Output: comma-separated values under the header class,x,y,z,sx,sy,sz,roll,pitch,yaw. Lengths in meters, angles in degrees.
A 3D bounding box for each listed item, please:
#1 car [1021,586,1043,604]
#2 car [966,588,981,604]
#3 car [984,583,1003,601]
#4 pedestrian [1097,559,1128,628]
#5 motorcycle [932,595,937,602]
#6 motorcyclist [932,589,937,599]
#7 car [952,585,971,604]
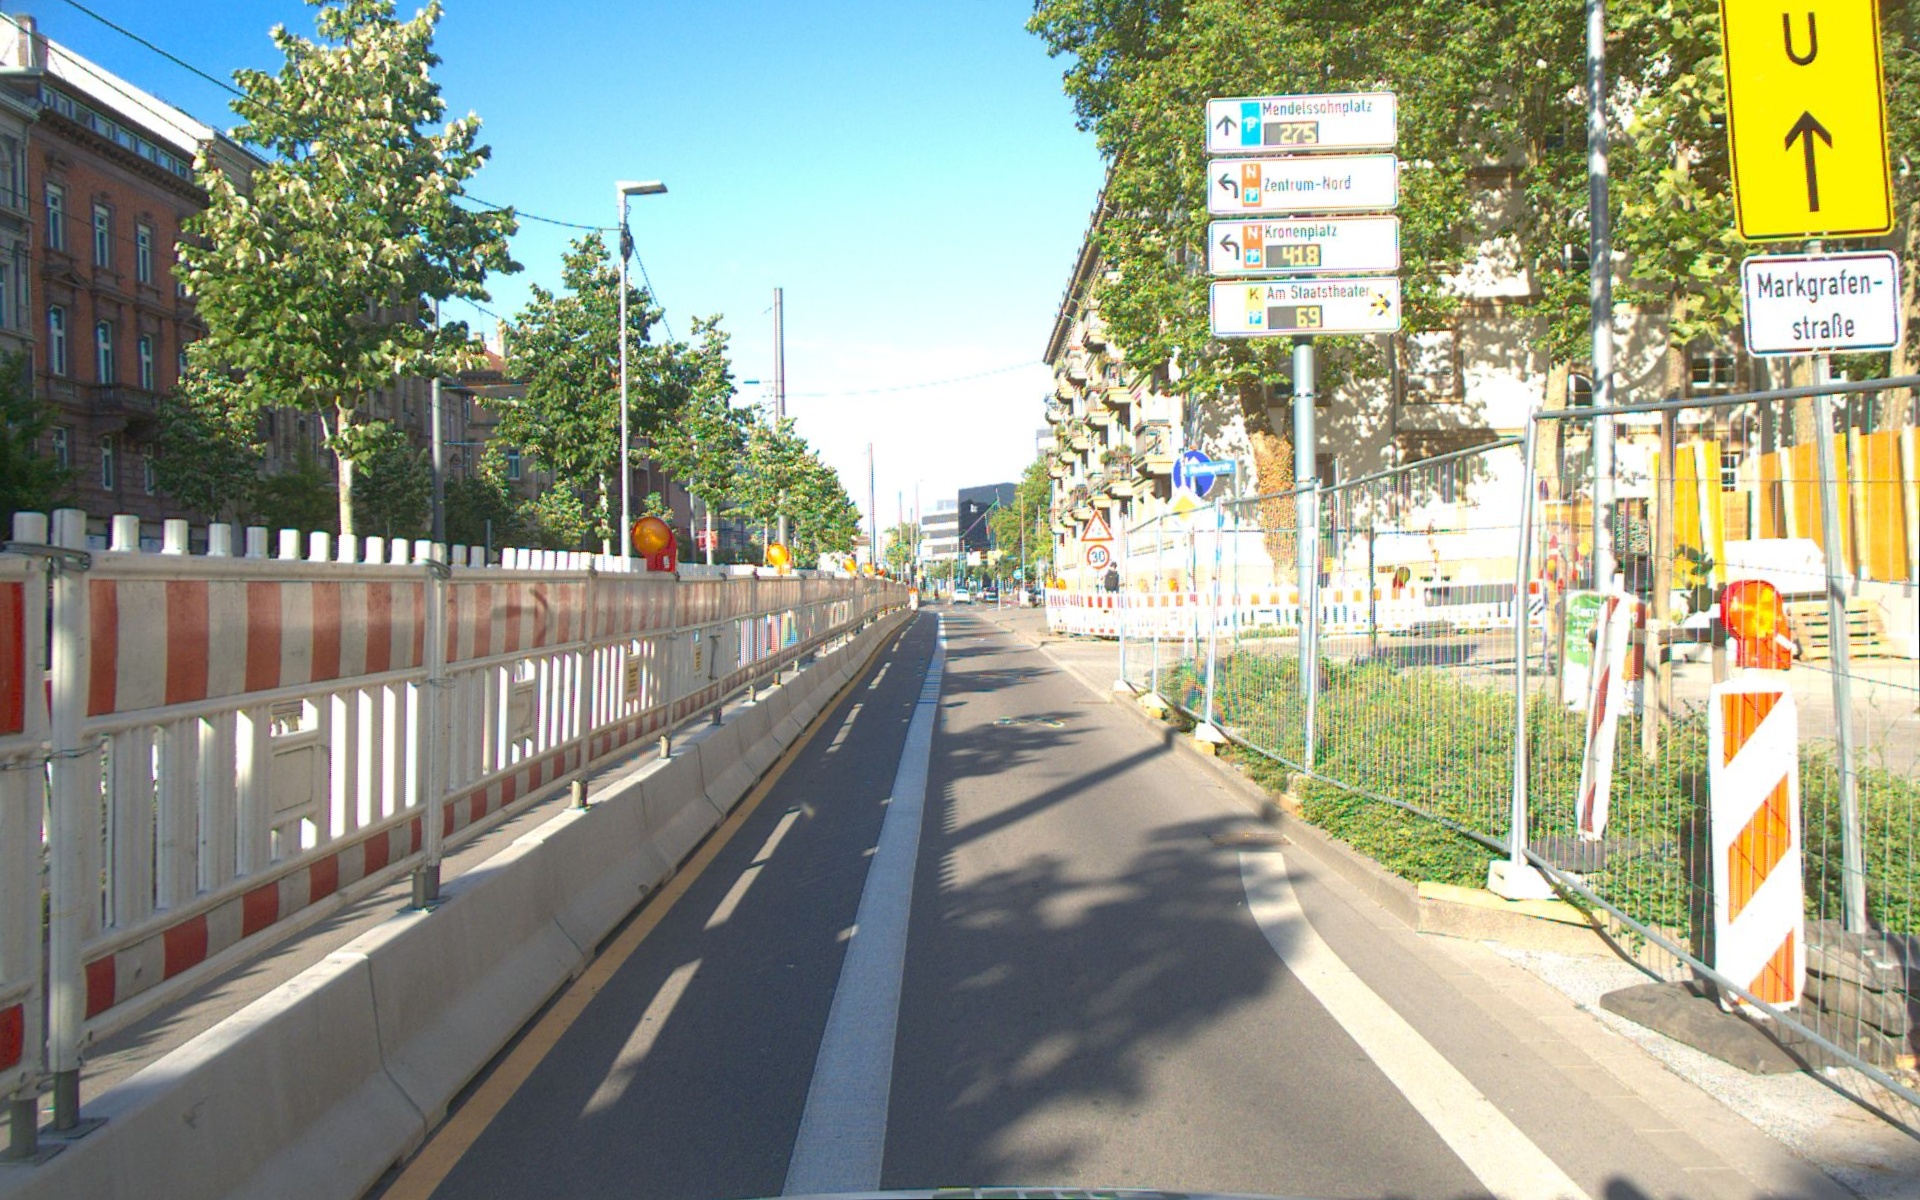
class,x,y,z,sx,sy,sz,roll,pitch,yaw
car,6.499,-0.459,149.826,1.844,1.617,3.668,-1,1,0
car,1.663,-0.524,203.687,1.845,1.875,3.667,-1,1,-1
car,3.587,-0.868,178.417,1.845,1.875,3.667,-1,1,-1
pedestrian,3.967,-0.172,43.034,0.655,1.776,0.777,-1,0,-3
motorcycle,-3.051,-0.182,198.473,0.618,0.912,1.621,-1,1,-1
motorcyclist,-3.067,-0.725,198.544,0.618,1.285,0.605,-1,0,-1
car,0.120,-0.575,170.165,1.845,1.875,3.667,-1,1,-1
